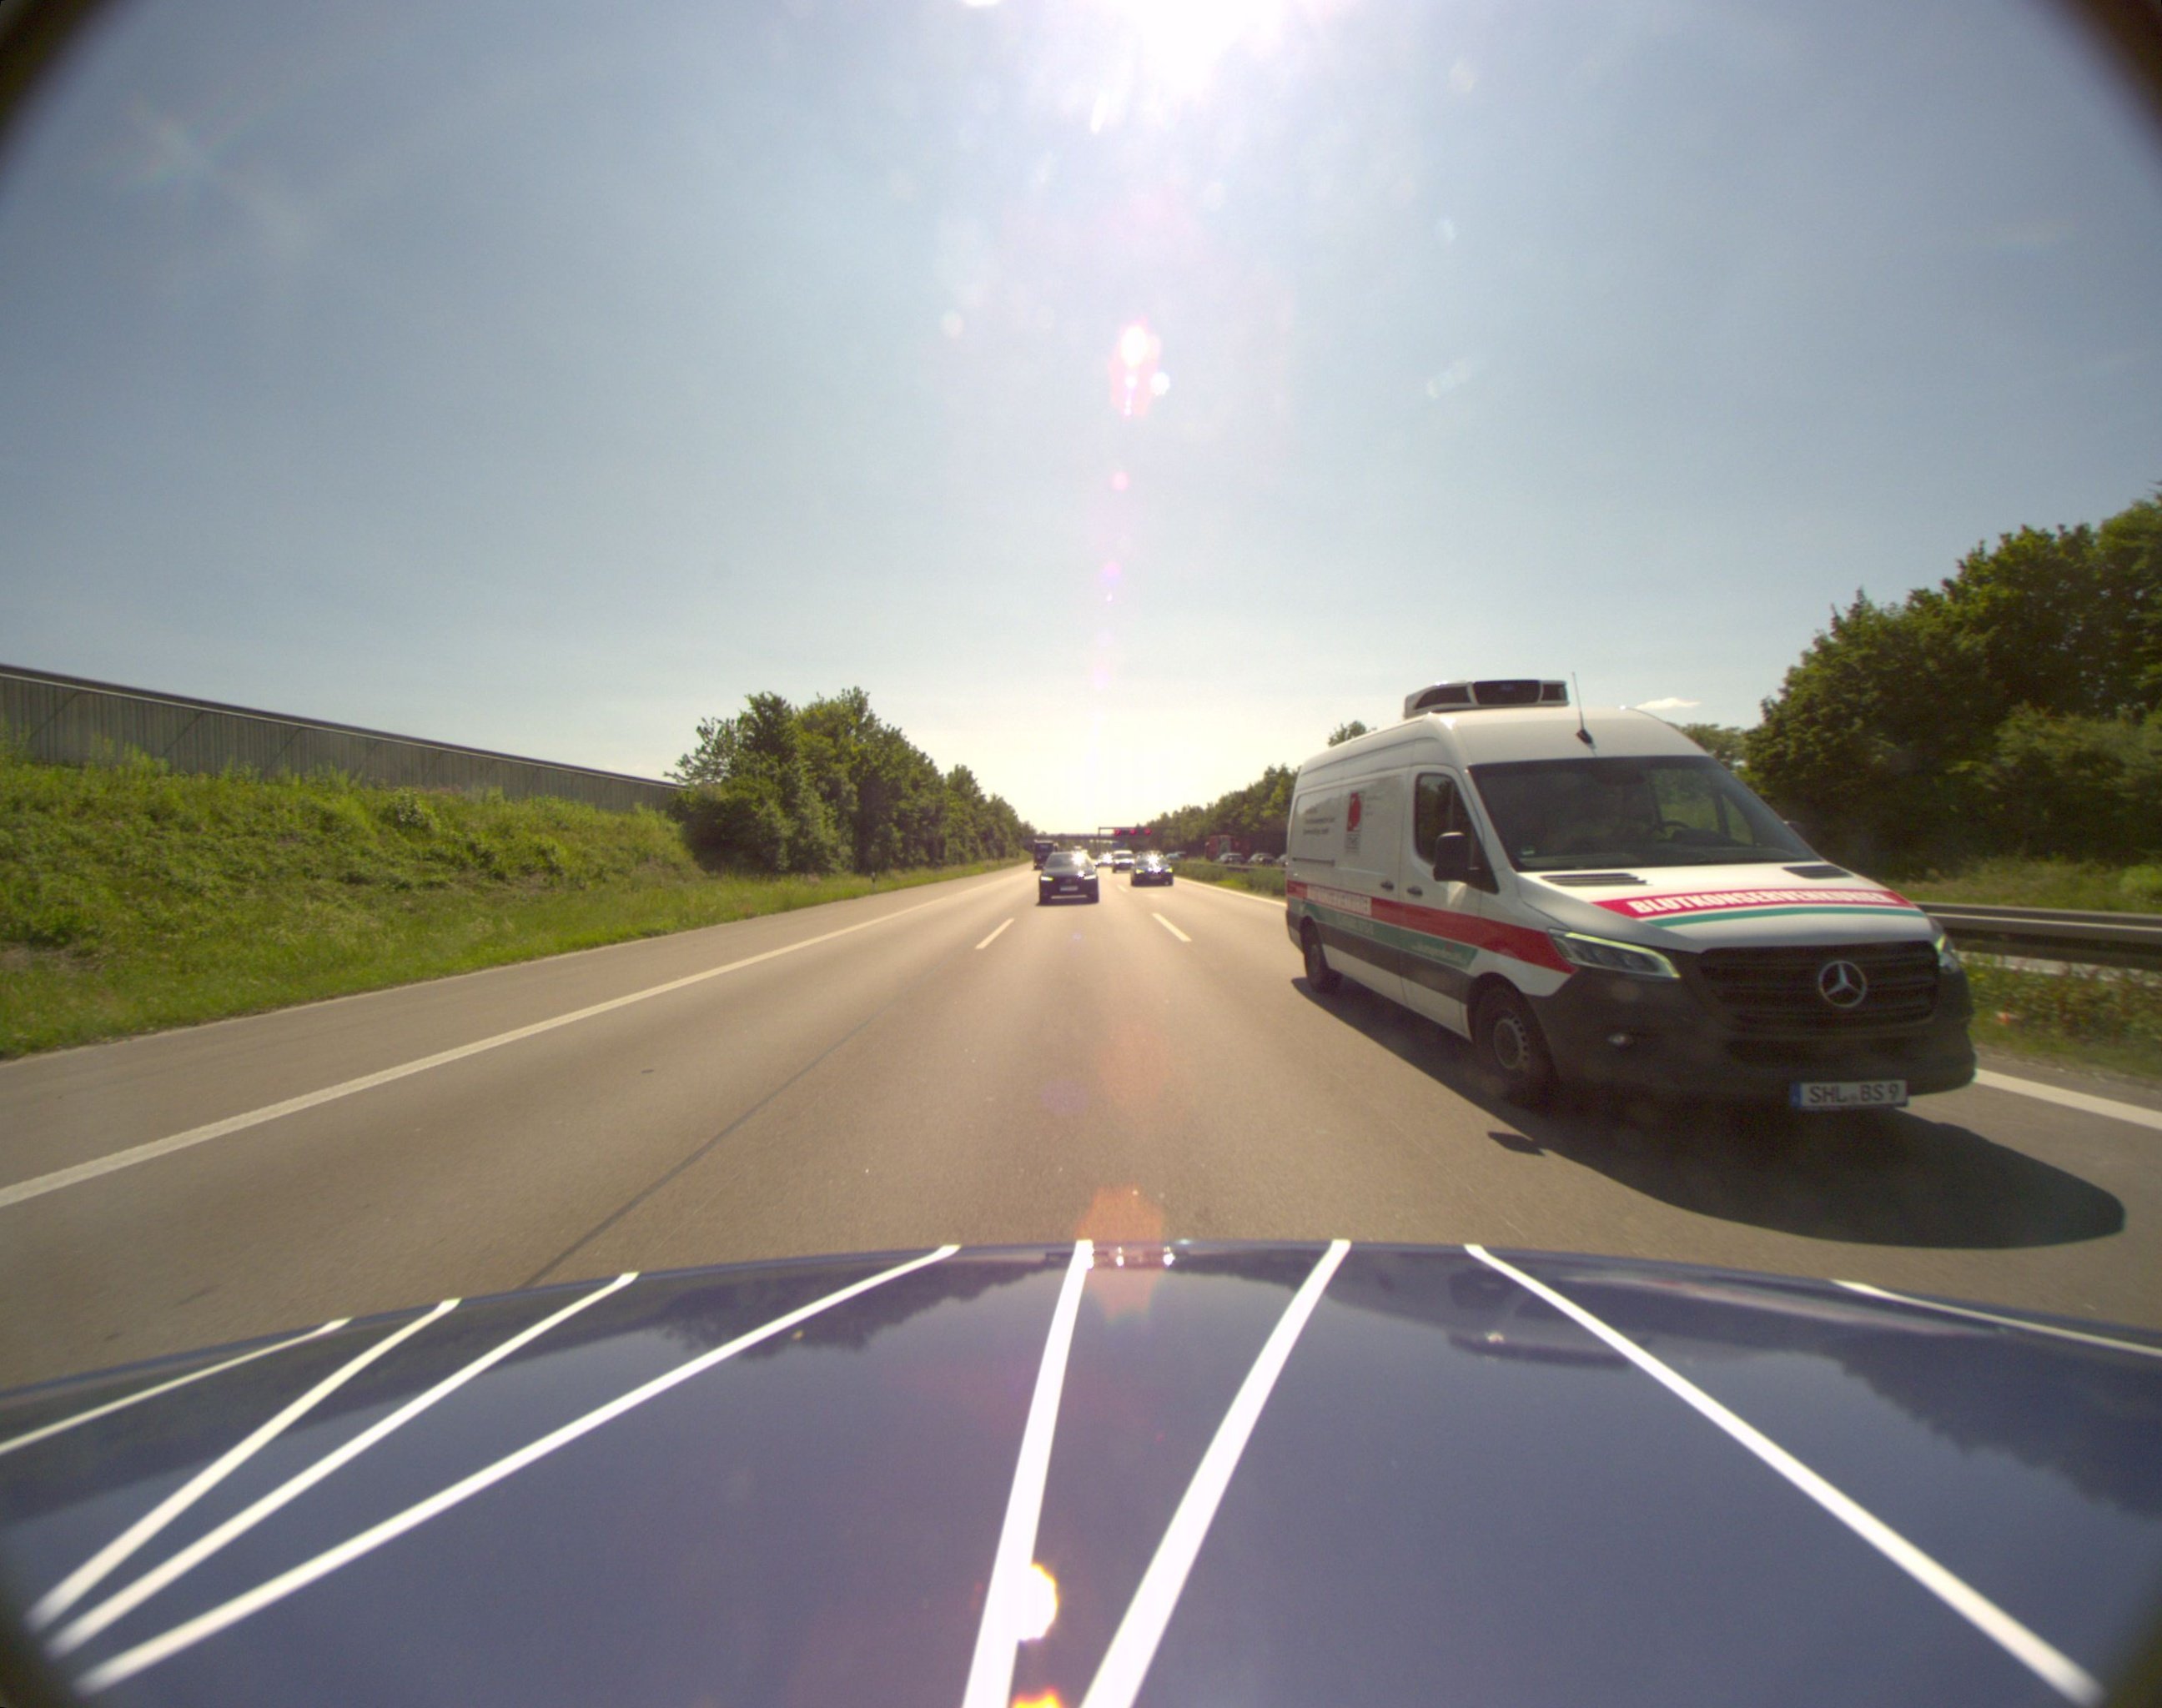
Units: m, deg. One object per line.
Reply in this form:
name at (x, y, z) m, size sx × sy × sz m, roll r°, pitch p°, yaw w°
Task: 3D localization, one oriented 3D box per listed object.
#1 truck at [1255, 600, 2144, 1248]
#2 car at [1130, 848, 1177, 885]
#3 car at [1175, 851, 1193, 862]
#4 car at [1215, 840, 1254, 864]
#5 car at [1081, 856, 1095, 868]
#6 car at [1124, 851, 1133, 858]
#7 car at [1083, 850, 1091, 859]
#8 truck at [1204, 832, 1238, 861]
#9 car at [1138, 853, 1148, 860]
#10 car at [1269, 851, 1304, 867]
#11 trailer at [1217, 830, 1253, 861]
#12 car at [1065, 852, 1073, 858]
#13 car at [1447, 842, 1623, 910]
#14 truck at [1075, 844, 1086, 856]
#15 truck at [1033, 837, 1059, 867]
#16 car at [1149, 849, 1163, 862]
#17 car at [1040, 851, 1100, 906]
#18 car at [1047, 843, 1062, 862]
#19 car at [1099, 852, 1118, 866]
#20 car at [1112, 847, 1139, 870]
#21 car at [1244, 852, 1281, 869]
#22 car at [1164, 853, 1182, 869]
truck at (3.270, 0.277, 6.409) m, size 1.998 × 2.527 × 6.691 m, roll -3°, pitch 0°, yaw 0°
car at (3.405, 0.542, 36.391) m, size 1.904 × 1.616 × 4.240 m, roll -2°, pitch 0°, yaw 1°
car at (15.759, 0.376, 116.245) m, size 1.999 × 1.680 × 4.264 m, roll -1°, pitch 0°, yaw -2°
car at (12.430, -0.196, 61.774) m, size 1.999 × 1.854 × 4.897 m, roll -1°, pitch 0°, yaw -2°
car at (0.994, 1.104, 105.194) m, size 1.742 × 1.630 × 3.845 m, roll 0°, pitch 1°, yaw 3°
car at (10.531, 0.126, 168.477) m, size 1.959 × 1.474 × 4.345 m, roll -1°, pitch 0°, yaw 1°
car at (1.433, 0.125, 190.086) m, size 1.998 × 2.002 × 4.345 m, roll -1°, pitch 0°, yaw 1°
truck at (18.951, -1.023, 103.578) m, size 2.686 × 3.747 × 9.918 m, roll 0°, pitch 0°, yaw 0°
car at (11.580, 0.485, 142.279) m, size 1.672 × 1.309 × 4.120 m, roll -1°, pitch 0°, yaw 0°
car at (19.213, 0.464, 71.252) m, size 1.900 × 1.430 × 4.923 m, roll 2°, pitch 0°, yaw -1°
trailer at (19.037, -1.031, 94.389) m, size 2.686 × 3.747 × 8.405 m, roll 0°, pitch 0°, yaw 0°
car at (-3.376, 0.267, 212.534) m, size 1.998 × 1.765 × 4.236 m, roll -1°, pitch 0°, yaw 1°
car at (11.955, 0.509, 20.466) m, size 1.863 × 1.591 × 4.720 m, roll -1°, pitch 0°, yaw -1°
truck at (-0.173, -1.152, 234.246) m, size 3.243 × 3.684 × 10.932 m, roll -1°, pitch 1°, yaw -1°
truck at (-4.086, -0.226, 90.804) m, size 2.965 × 3.388 × 8.045 m, roll 0°, pitch 1°, yaw -2°
car at (11.573, 0.221, 117.232) m, size 1.821 × 1.892 × 4.000 m, roll -1°, pitch 0°, yaw 0°
car at (-0.365, 0.754, 25.594) m, size 1.812 × 1.648 × 3.999 m, roll -2°, pitch 0°, yaw -1°
car at (-5.648, -0.337, 164.404) m, size 3.203 × 3.997 × 8.124 m, roll 0°, pitch 1°, yaw -2°
car at (3.218, 0.580, 89.518) m, size 1.998 × 1.540 × 3.999 m, roll -1°, pitch 1°, yaw 0°
car at (3.623, 0.366, 62.158) m, size 1.870 × 1.713 × 3.979 m, roll -1°, pitch 1°, yaw -1°
car at (15.404, 0.559, 64.697) m, size 1.900 × 1.332 × 4.763 m, roll 2°, pitch 0°, yaw -1°
car at (11.274, 0.809, 93.284) m, size 1.821 × 1.892 × 4.000 m, roll -1°, pitch 0°, yaw 0°
